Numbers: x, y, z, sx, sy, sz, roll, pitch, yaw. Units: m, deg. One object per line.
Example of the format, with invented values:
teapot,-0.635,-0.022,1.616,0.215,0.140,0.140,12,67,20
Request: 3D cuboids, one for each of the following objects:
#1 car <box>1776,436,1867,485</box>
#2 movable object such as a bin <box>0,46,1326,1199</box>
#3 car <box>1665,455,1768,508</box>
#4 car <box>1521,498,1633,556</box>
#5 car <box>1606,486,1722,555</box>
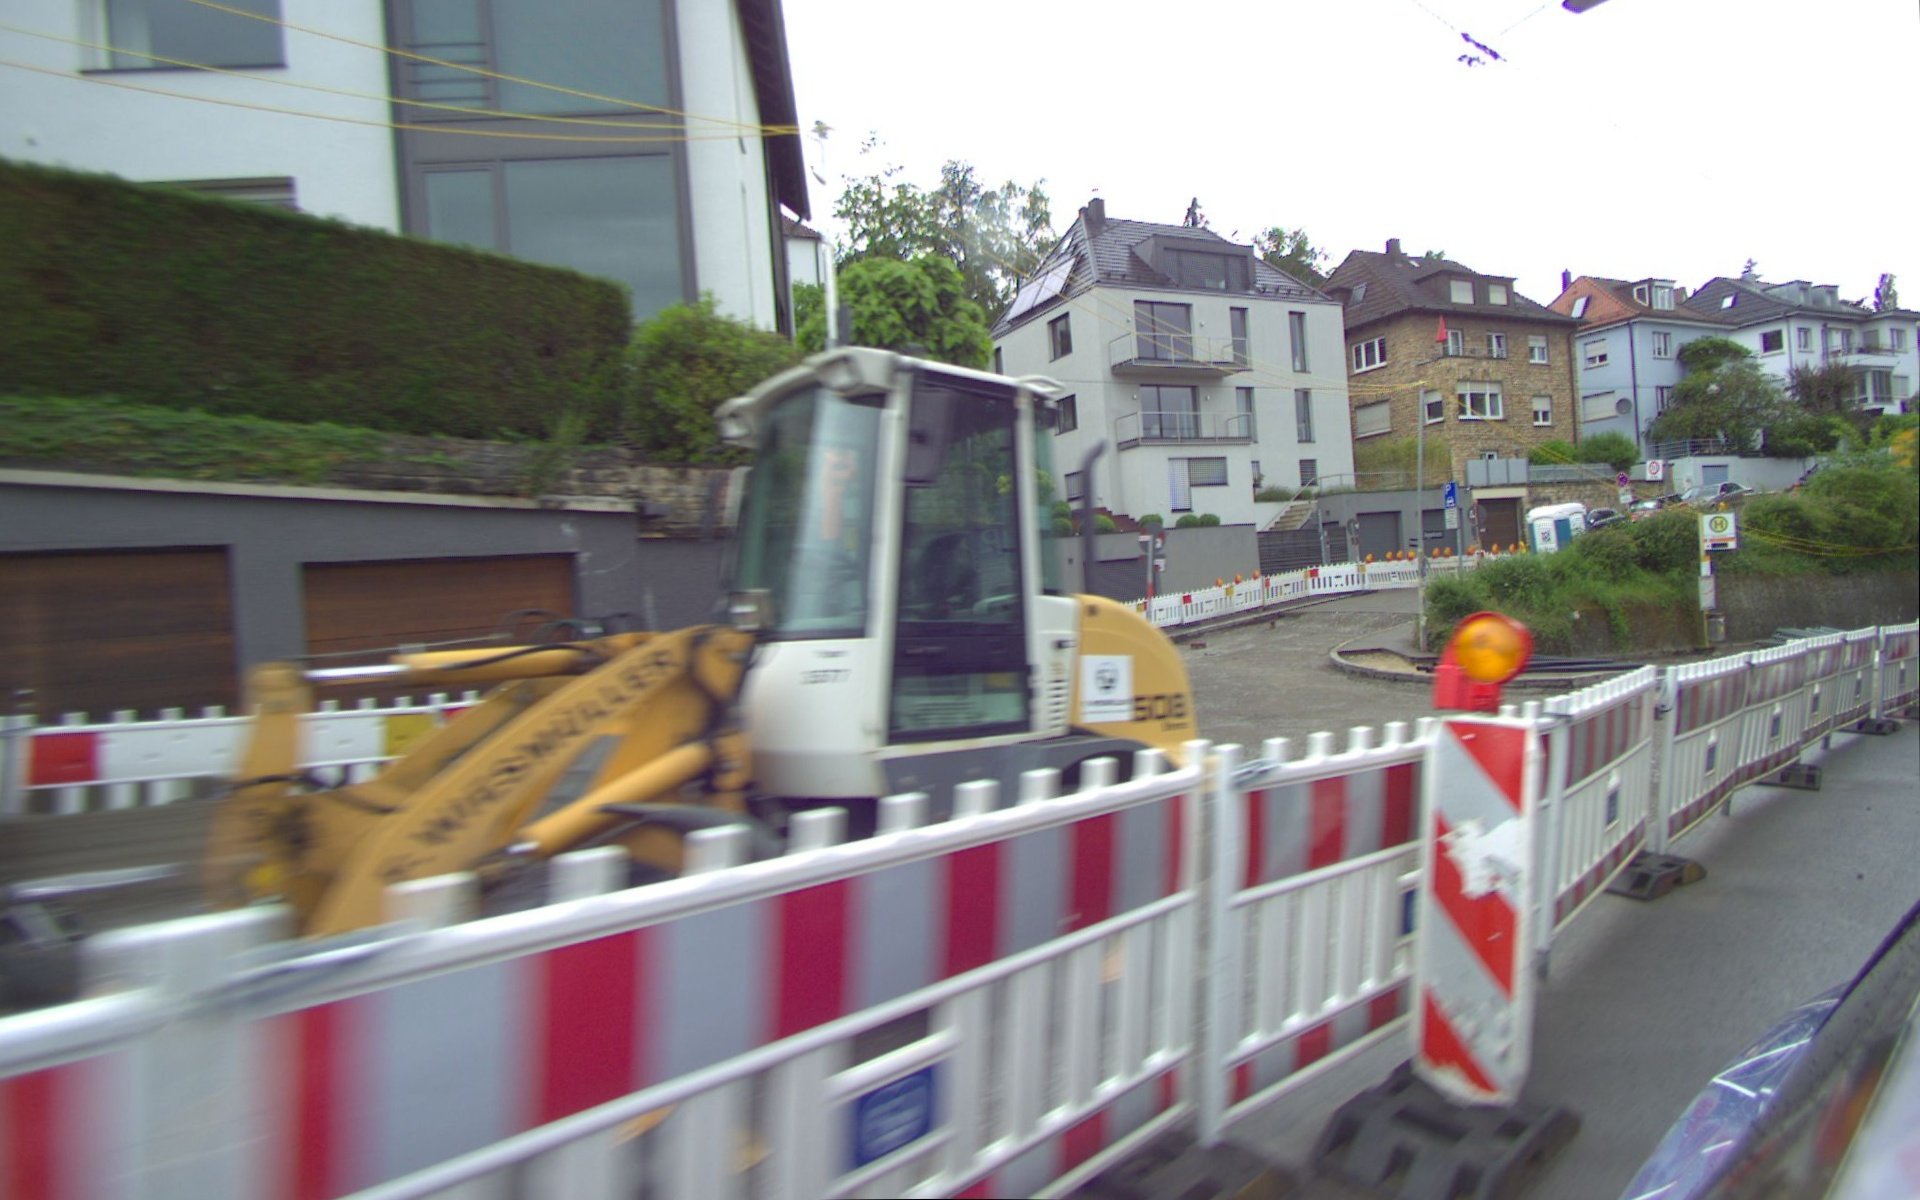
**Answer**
car,41.307,-6.681,48.505,3.891,1.653,1.864,-12,6,-26
movable object such as a bin,-0.970,0.275,4.140,5.579,2.873,2.090,-3,1,-41
car,32.200,-5.047,43.062,3.889,1.653,1.864,-11,5,-26
car,23.783,-2.818,39.014,3.761,1.653,1.864,-11,5,-26
car,28.663,-3.226,41.177,4.346,2.100,1.904,-11,5,-26
